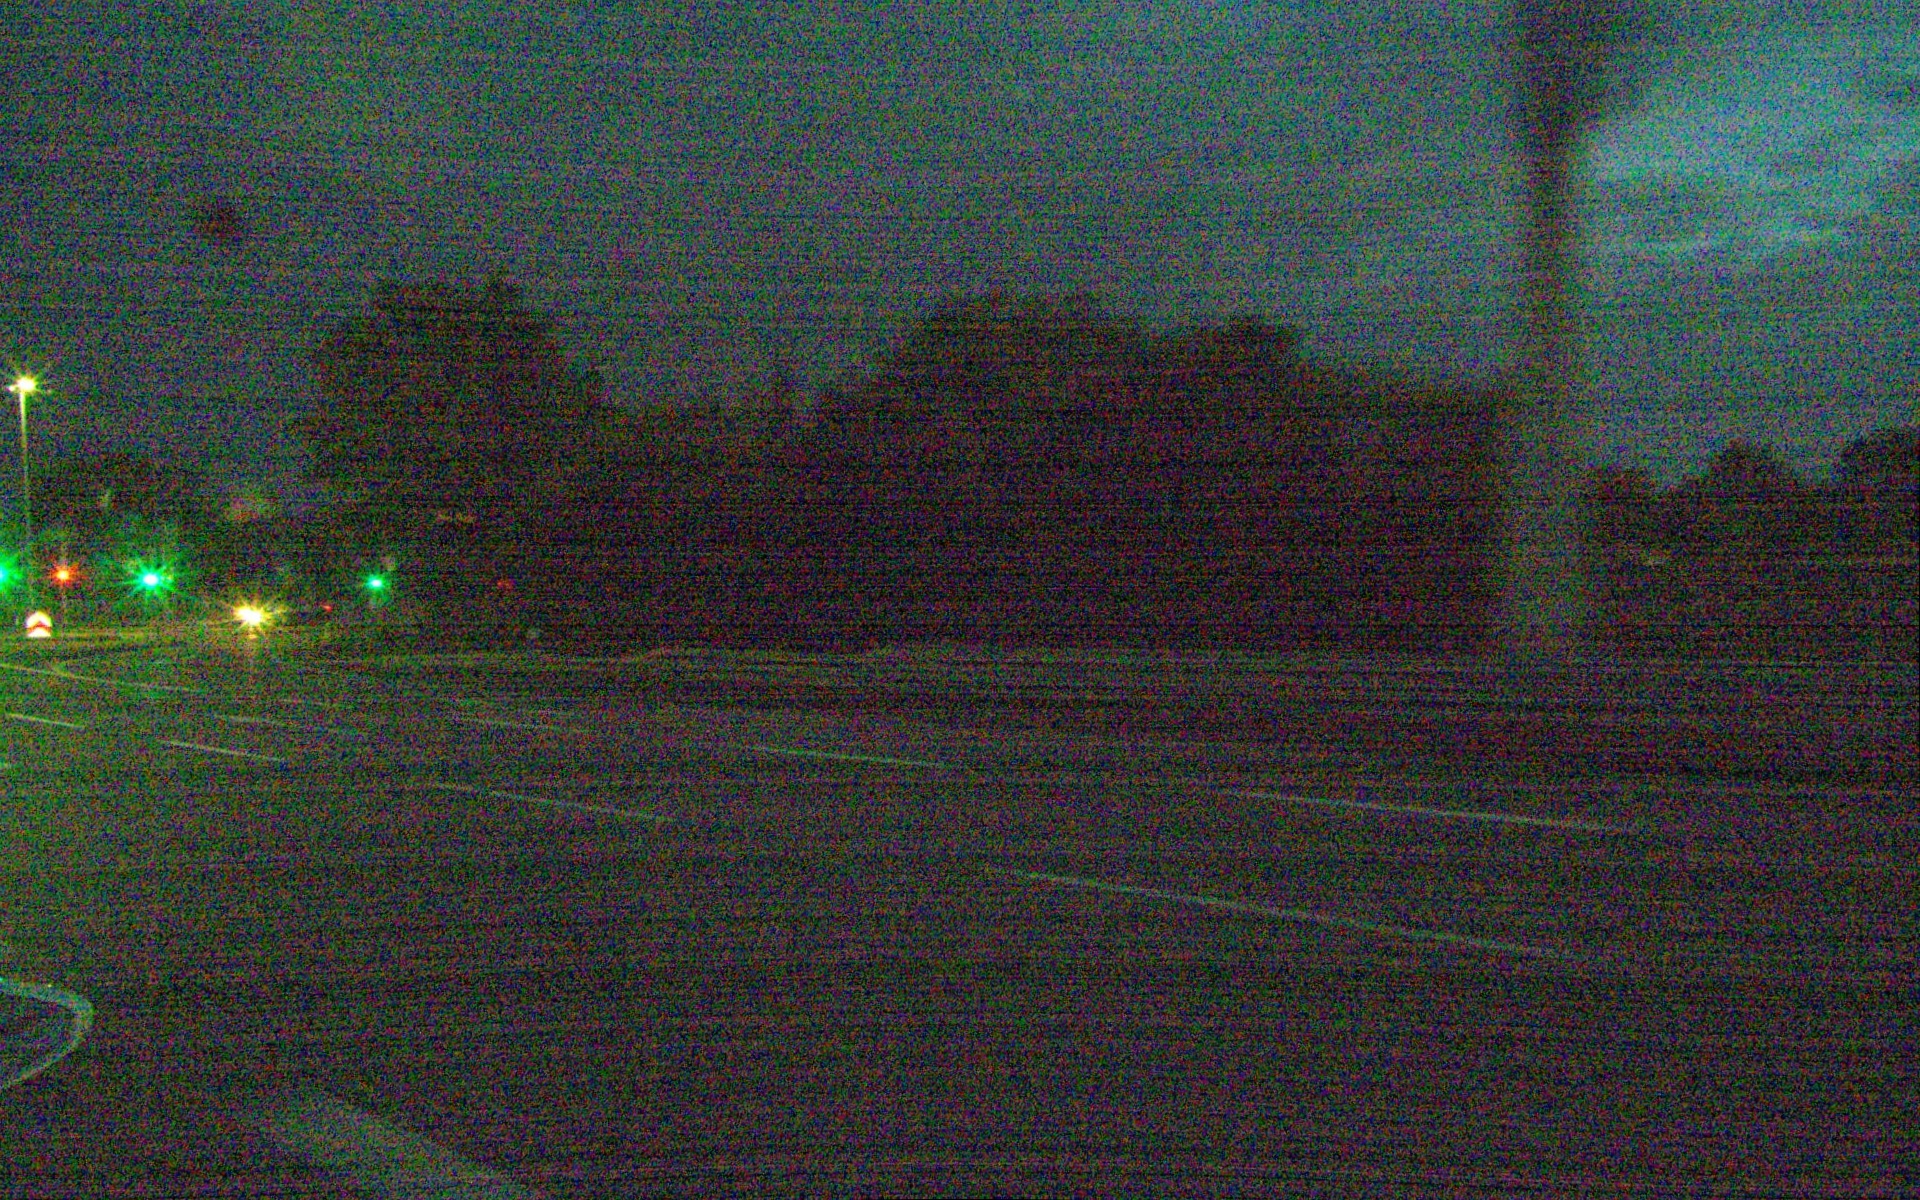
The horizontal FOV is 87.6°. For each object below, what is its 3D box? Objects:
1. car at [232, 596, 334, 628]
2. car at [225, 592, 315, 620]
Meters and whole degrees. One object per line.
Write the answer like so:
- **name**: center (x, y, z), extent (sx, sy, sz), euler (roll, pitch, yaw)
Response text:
- **car**: center (-35.757, 0.607, 52.983), extent (1.973, 1.590, 4.067), euler (1, 1, 31)
- **car**: center (-40.400, 0.320, 58.708), extent (1.872, 1.590, 3.980), euler (1, 1, 31)
